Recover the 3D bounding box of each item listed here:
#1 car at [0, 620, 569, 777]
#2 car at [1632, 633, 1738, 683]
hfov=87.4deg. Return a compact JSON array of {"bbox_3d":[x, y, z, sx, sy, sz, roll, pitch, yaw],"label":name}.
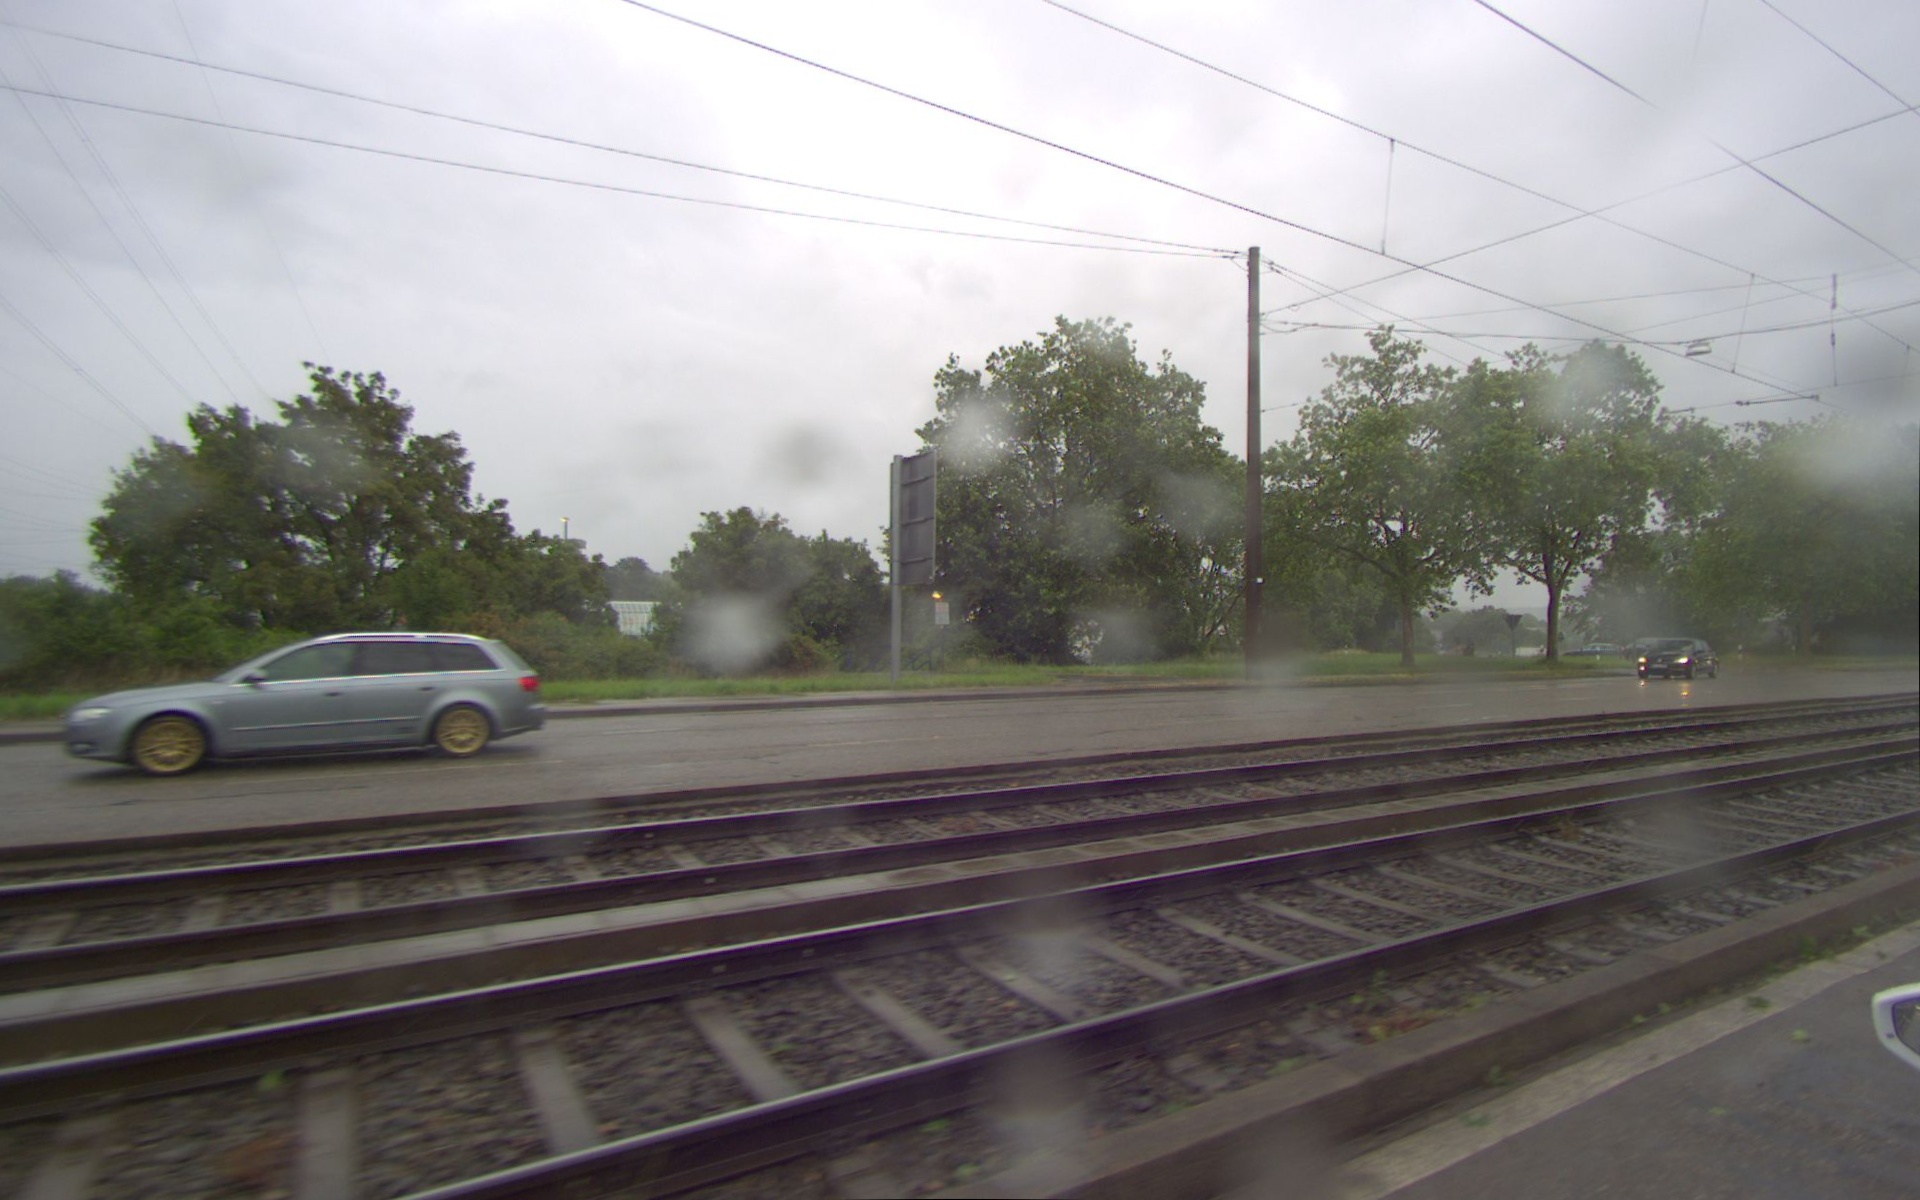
[{"bbox_3d":[-7.224,0.953,11.363,5.014,1.381,1.748,0,1,-32],"label":"car"},{"bbox_3d":[25.609,1.992,35.448,3.956,1.573,1.679,0,1,-33],"label":"car"}]
